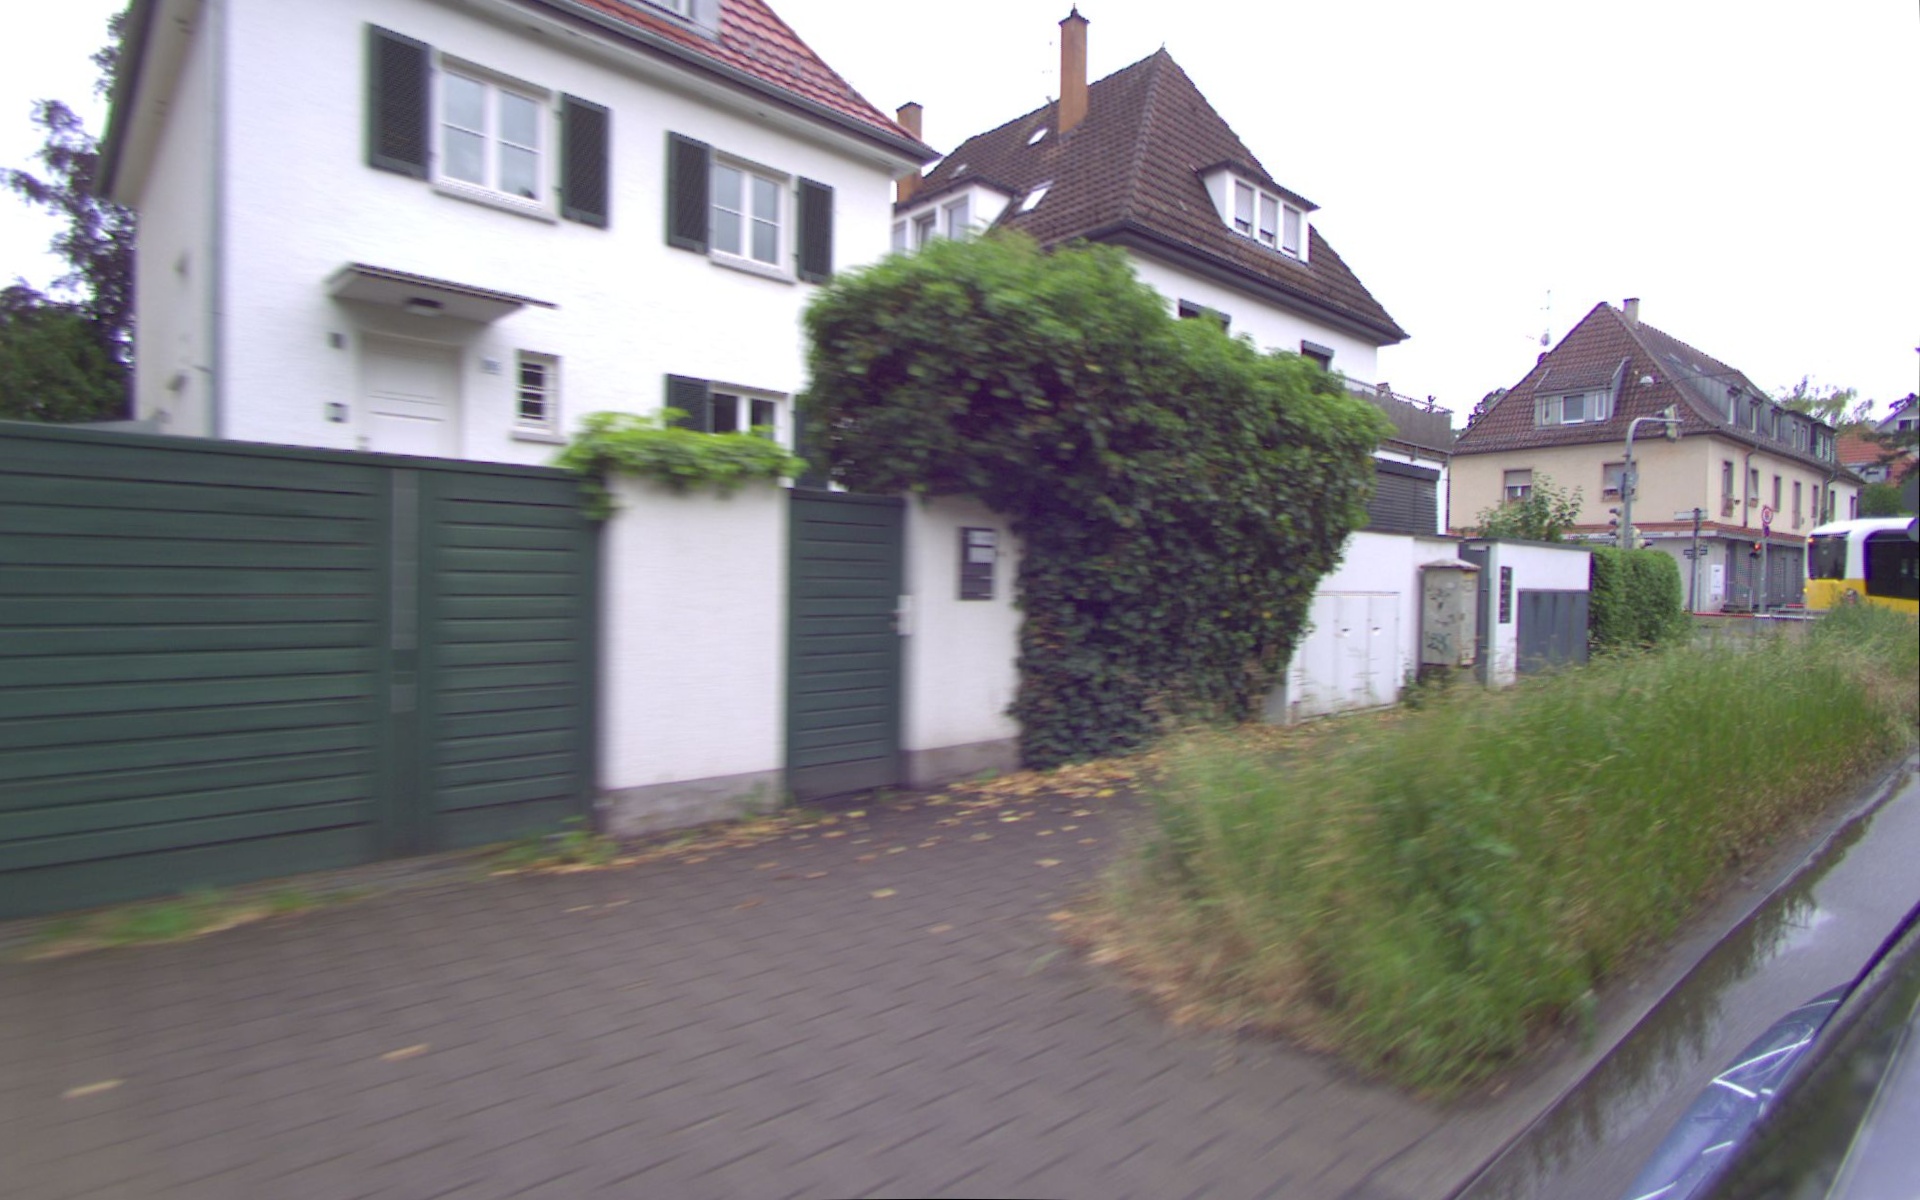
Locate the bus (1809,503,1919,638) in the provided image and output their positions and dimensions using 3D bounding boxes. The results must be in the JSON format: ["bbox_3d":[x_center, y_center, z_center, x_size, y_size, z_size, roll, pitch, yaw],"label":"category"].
[{"bbox_3d":[27.867,-0.744,26.214,8.565,3.441,2.670,0,0,18],"label":"bus"}]
